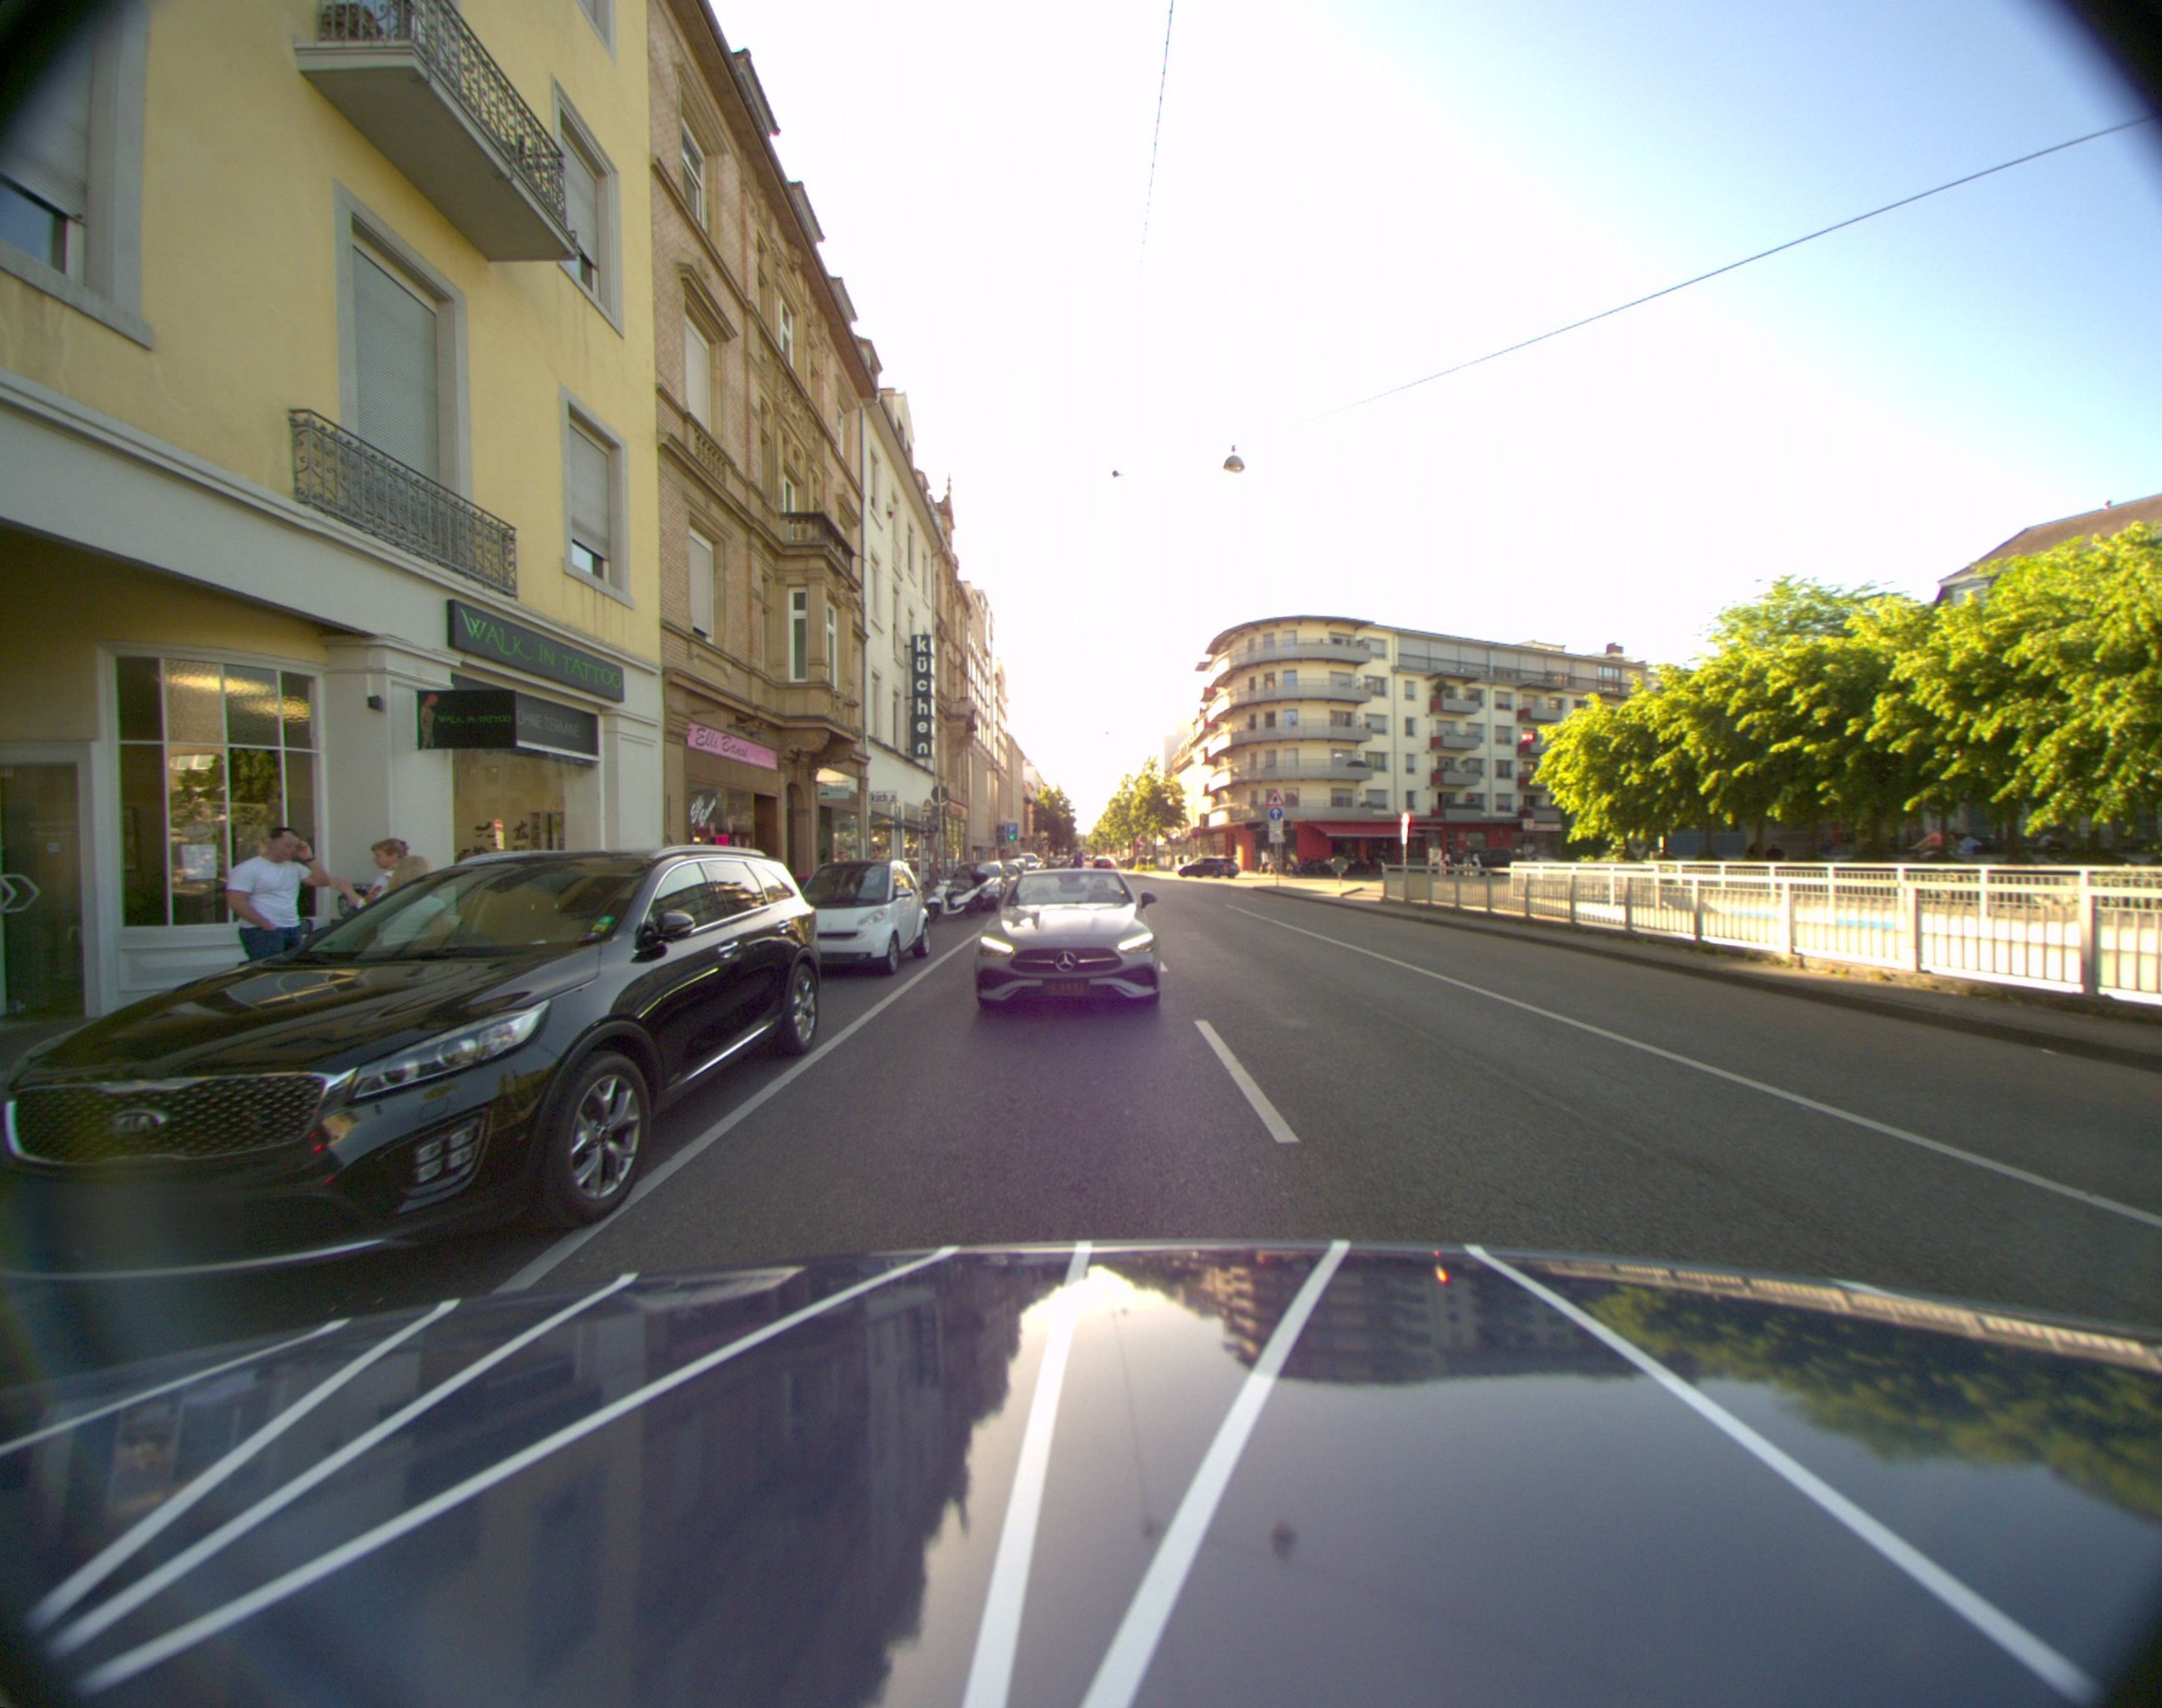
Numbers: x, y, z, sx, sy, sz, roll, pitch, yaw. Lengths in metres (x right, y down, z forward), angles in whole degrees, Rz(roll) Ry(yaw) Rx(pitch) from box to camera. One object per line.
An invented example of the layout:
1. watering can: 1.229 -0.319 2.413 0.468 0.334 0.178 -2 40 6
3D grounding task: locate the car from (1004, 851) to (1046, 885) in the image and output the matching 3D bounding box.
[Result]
1. car: -2.933 0.716 40.723 1.895 1.680 4.049 -2 0 0

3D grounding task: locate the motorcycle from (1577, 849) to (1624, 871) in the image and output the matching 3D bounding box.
1. motorcycle: 26.949 0.323 39.432 1.927 1.096 0.682 -1 1 23

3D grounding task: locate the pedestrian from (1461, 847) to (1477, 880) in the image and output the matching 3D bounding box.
1. pedestrian: 21.553 0.522 42.195 0.602 1.782 0.581 -3 2 -45

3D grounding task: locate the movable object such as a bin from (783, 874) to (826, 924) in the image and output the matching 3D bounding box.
1. movable object such as a bin: -6.153 0.991 16.936 0.716 1.065 0.619 2 1 1

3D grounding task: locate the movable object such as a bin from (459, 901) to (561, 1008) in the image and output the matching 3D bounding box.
1. movable object such as a bin: -6.143 1.061 8.203 0.606 1.060 0.619 2 1 1

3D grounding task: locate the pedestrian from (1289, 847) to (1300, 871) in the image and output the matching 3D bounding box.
1. pedestrian: 14.905 0.355 53.062 0.575 1.698 0.642 -1 1 3

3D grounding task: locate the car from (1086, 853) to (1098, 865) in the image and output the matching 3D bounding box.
1. car: 2.080 0.945 143.498 1.998 2.002 4.000 -2 1 1

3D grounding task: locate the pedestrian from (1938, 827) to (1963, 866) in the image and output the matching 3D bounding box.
1. pedestrian: 41.155 -0.347 35.957 0.602 1.782 0.582 -2 1 -20

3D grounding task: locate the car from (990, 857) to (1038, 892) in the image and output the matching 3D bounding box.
1. car: -2.948 0.882 34.094 1.737 1.409 3.802 -2 0 0

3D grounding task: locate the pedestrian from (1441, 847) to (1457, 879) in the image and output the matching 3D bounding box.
1. pedestrian: 20.392 0.503 42.131 0.602 1.782 0.581 -3 2 -45

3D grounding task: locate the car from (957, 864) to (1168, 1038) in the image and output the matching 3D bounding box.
1. car: -0.151 0.895 8.970 1.848 1.440 4.373 -2 0 0

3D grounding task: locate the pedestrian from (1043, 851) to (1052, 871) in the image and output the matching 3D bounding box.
1. pedestrian: -2.792 0.605 63.288 0.774 1.606 0.696 -2 1 -3

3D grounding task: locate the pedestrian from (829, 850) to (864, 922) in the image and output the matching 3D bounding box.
1. pedestrian: -5.394 0.721 17.506 0.618 1.623 0.463 -2 1 -2

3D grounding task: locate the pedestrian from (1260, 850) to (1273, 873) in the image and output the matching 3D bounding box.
1. pedestrian: 12.834 0.511 52.674 0.571 1.612 0.792 -2 1 -12

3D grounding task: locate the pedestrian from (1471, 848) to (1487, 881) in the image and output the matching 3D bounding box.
1. pedestrian: 22.263 0.588 42.497 0.602 1.782 0.581 -3 1 -40

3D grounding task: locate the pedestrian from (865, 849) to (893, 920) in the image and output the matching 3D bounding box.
1. pedestrian: -4.673 0.696 17.594 0.515 1.623 0.414 -2 1 -4

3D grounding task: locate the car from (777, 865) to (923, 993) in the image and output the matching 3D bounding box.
1. car: -3.166 0.951 10.865 1.275 1.509 2.794 -2 0 -2

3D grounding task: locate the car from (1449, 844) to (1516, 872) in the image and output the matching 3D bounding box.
1. car: 29.238 0.275 55.361 4.432 1.901 1.952 -2 1 -23

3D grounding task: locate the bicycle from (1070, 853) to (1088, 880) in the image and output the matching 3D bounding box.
1. bicycle: -0.093 0.584 36.538 0.798 1.226 1.773 -2 0 1

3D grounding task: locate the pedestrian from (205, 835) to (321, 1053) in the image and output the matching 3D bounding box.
1. pedestrian: -6.494 0.681 6.044 0.337 1.651 0.525 0 1 21

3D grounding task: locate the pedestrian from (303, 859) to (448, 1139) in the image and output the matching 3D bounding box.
1. pedestrian: -4.666 0.917 5.053 0.435 1.752 0.481 -2 1 -7

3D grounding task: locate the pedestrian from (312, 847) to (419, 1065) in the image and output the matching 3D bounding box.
1. pedestrian: -5.735 0.775 6.108 0.594 1.651 0.450 -1 1 -43

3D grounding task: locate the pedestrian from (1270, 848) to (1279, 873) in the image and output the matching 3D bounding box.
1. pedestrian: 13.451 0.448 52.746 0.442 1.663 0.516 -2 1 -5

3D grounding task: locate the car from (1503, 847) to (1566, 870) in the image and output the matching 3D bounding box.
1. car: 34.370 0.341 57.631 4.300 1.611 1.952 -2 0 -23

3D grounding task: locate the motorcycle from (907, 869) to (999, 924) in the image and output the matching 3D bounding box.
1. motorcycle: -3.263 1.058 19.487 2.178 1.272 0.866 -2 1 -42

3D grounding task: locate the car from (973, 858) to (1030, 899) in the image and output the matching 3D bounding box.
1. car: -3.040 0.911 29.674 1.737 1.409 3.802 -2 0 0

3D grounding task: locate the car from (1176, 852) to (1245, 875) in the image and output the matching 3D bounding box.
1. car: 8.263 0.610 48.664 3.915 1.388 1.811 -1 1 43

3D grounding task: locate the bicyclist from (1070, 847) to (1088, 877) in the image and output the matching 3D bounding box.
1. bicyclist: -0.104 0.379 36.491 0.798 1.426 1.008 -2 1 1

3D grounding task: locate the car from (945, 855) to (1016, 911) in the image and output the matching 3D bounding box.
1. car: -3.030 0.821 23.640 1.737 1.509 4.164 -2 0 -2

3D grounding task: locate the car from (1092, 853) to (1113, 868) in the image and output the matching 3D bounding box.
1. car: 2.077 0.613 72.466 1.895 1.388 4.256 -2 0 1

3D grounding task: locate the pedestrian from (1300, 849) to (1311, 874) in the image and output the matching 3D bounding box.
1. pedestrian: 15.483 0.483 52.360 0.575 1.698 0.642 -1 1 3

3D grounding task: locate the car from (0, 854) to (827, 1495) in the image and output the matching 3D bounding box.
1. car: -3.024 0.889 4.361 1.760 1.726 4.571 -2 0 -3
